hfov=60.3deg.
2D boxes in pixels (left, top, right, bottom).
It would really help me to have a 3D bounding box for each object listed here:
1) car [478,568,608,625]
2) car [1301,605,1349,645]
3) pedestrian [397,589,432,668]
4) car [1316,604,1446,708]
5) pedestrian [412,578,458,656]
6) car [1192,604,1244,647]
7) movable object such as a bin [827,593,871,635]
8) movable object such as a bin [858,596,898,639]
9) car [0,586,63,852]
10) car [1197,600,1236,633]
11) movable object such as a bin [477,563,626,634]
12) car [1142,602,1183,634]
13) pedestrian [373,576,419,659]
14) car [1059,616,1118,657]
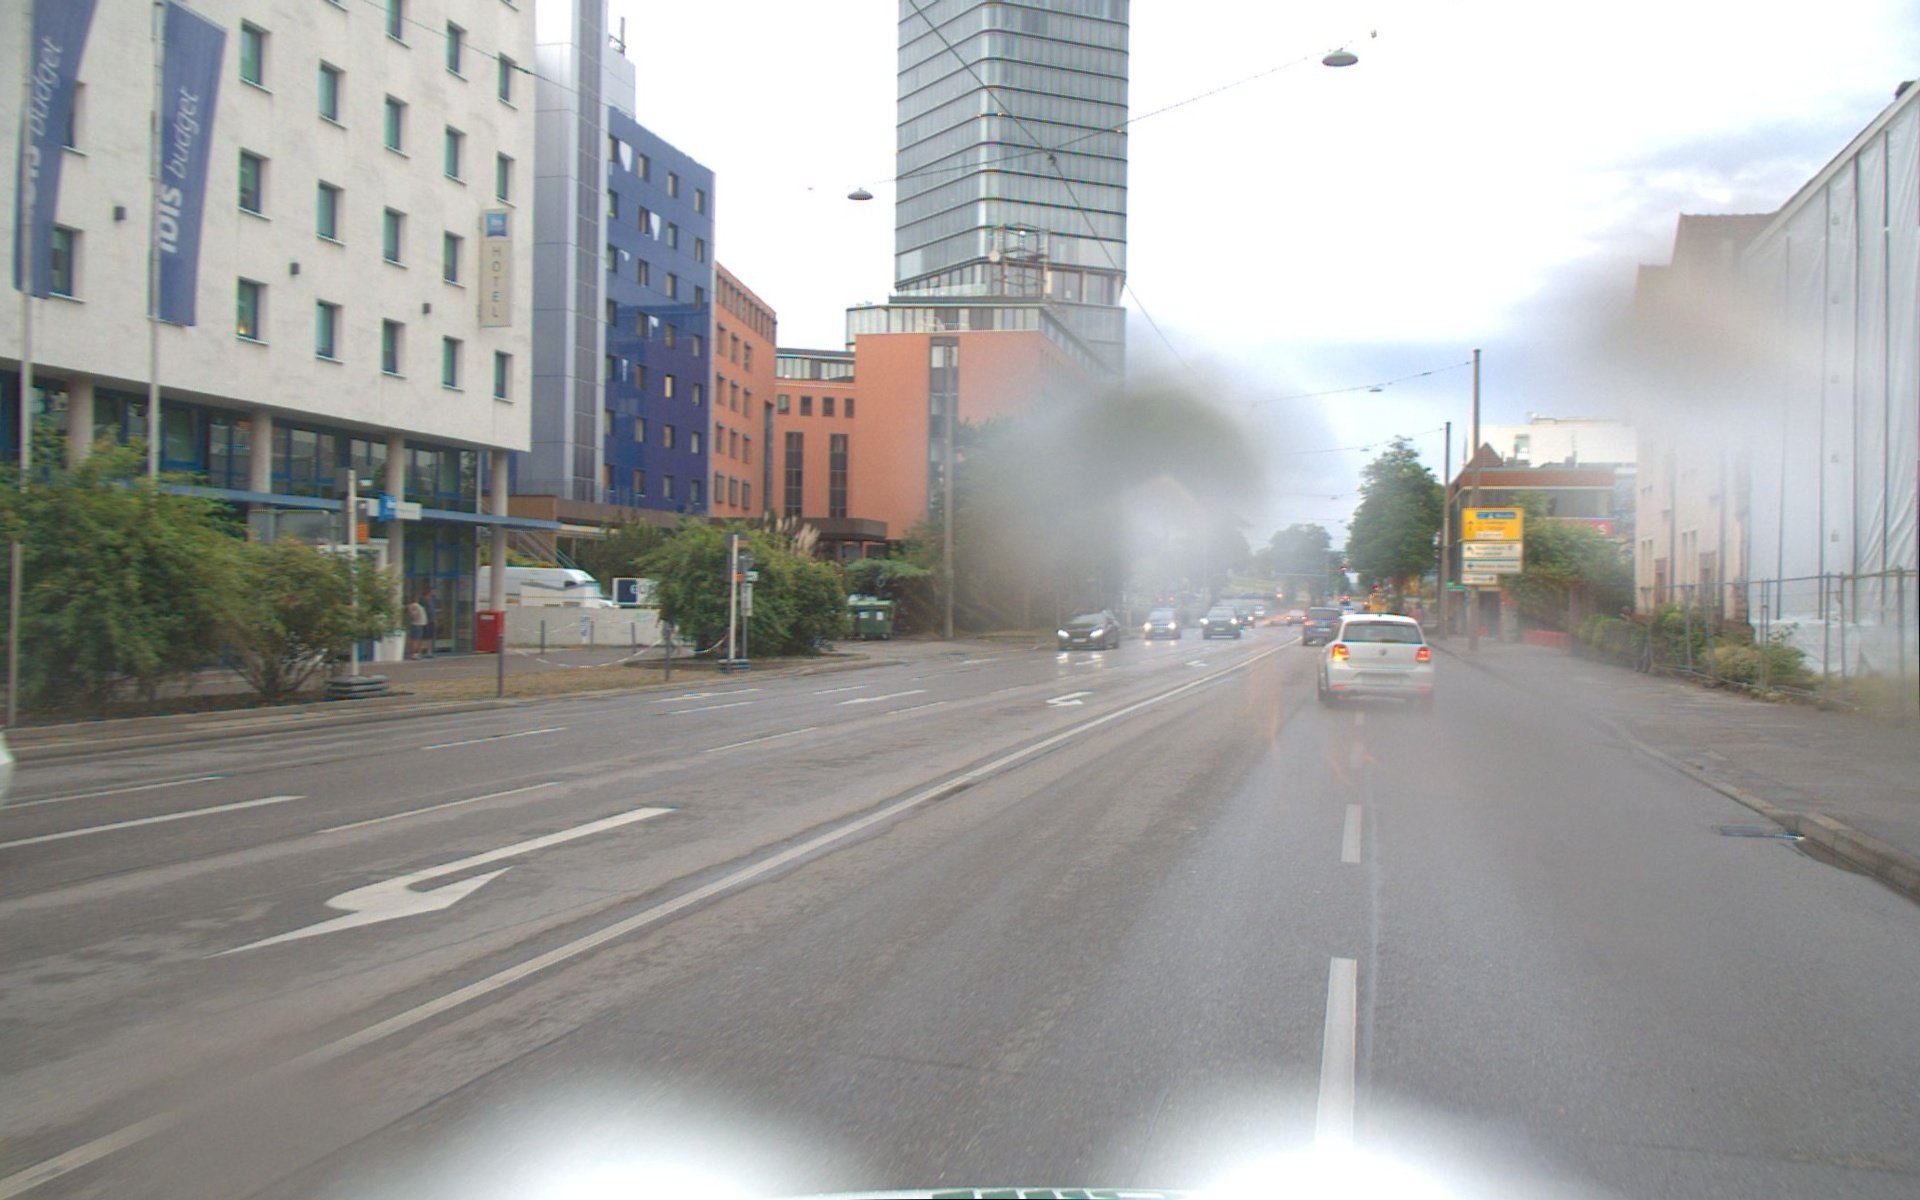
[{"bbox_3d":[-16.385,-0.116,65.026,4.612,2.049,1.894,-2,-3,14],"label":"car"},{"bbox_3d":[15.707,1.058,71.045,1.951,1.601,4.003,1,0,13],"label":"car"},{"bbox_3d":[-14.233,0.748,43.169,0.799,2.049,0.801,0,-3,-14],"label":"pedestrian"},{"bbox_3d":[6.689,0.845,26.594,1.635,1.499,3.782,1,0,9],"label":"car"},{"bbox_3d":[-14.049,0.477,44.271,0.801,2.049,0.895,-3,-4,43],"label":"pedestrian"},{"bbox_3d":[13.179,1.348,84.768,1.953,2.049,3.998,-1,-3,-1],"label":"car"},{"bbox_3d":[-4.142,0.540,61.748,1.362,1.517,0.951,-2,-3,25],"label":"movable object such as a bin"},{"bbox_3d":[-3.003,0.648,60.734,1.361,1.517,0.952,-1,-3,4],"label":"movable object such as a bin"},{"bbox_3d":[-6.417,0.611,6.988,1.778,1.411,4.967,0,0,13],"label":"car"},{"bbox_3d":[13.662,0.848,87.872,1.718,1.583,4.454,-1,1,13],"label":"car"},{"bbox_3d":[-16.622,-0.033,67.309,5.505,2.674,2.163,-1,-3,13],"label":"movable object such as a bin"},{"bbox_3d":[10.762,0.920,87.635,1.671,1.593,4.037,-1,0,14],"label":"car"},{"bbox_3d":[-14.233,0.459,41.758,0.785,2.049,0.815,-2,-3,15],"label":"pedestrian"},{"bbox_3d":[4.926,1.358,62.984,1.696,1.503,4.702,0,0,11],"label":"car"}]
